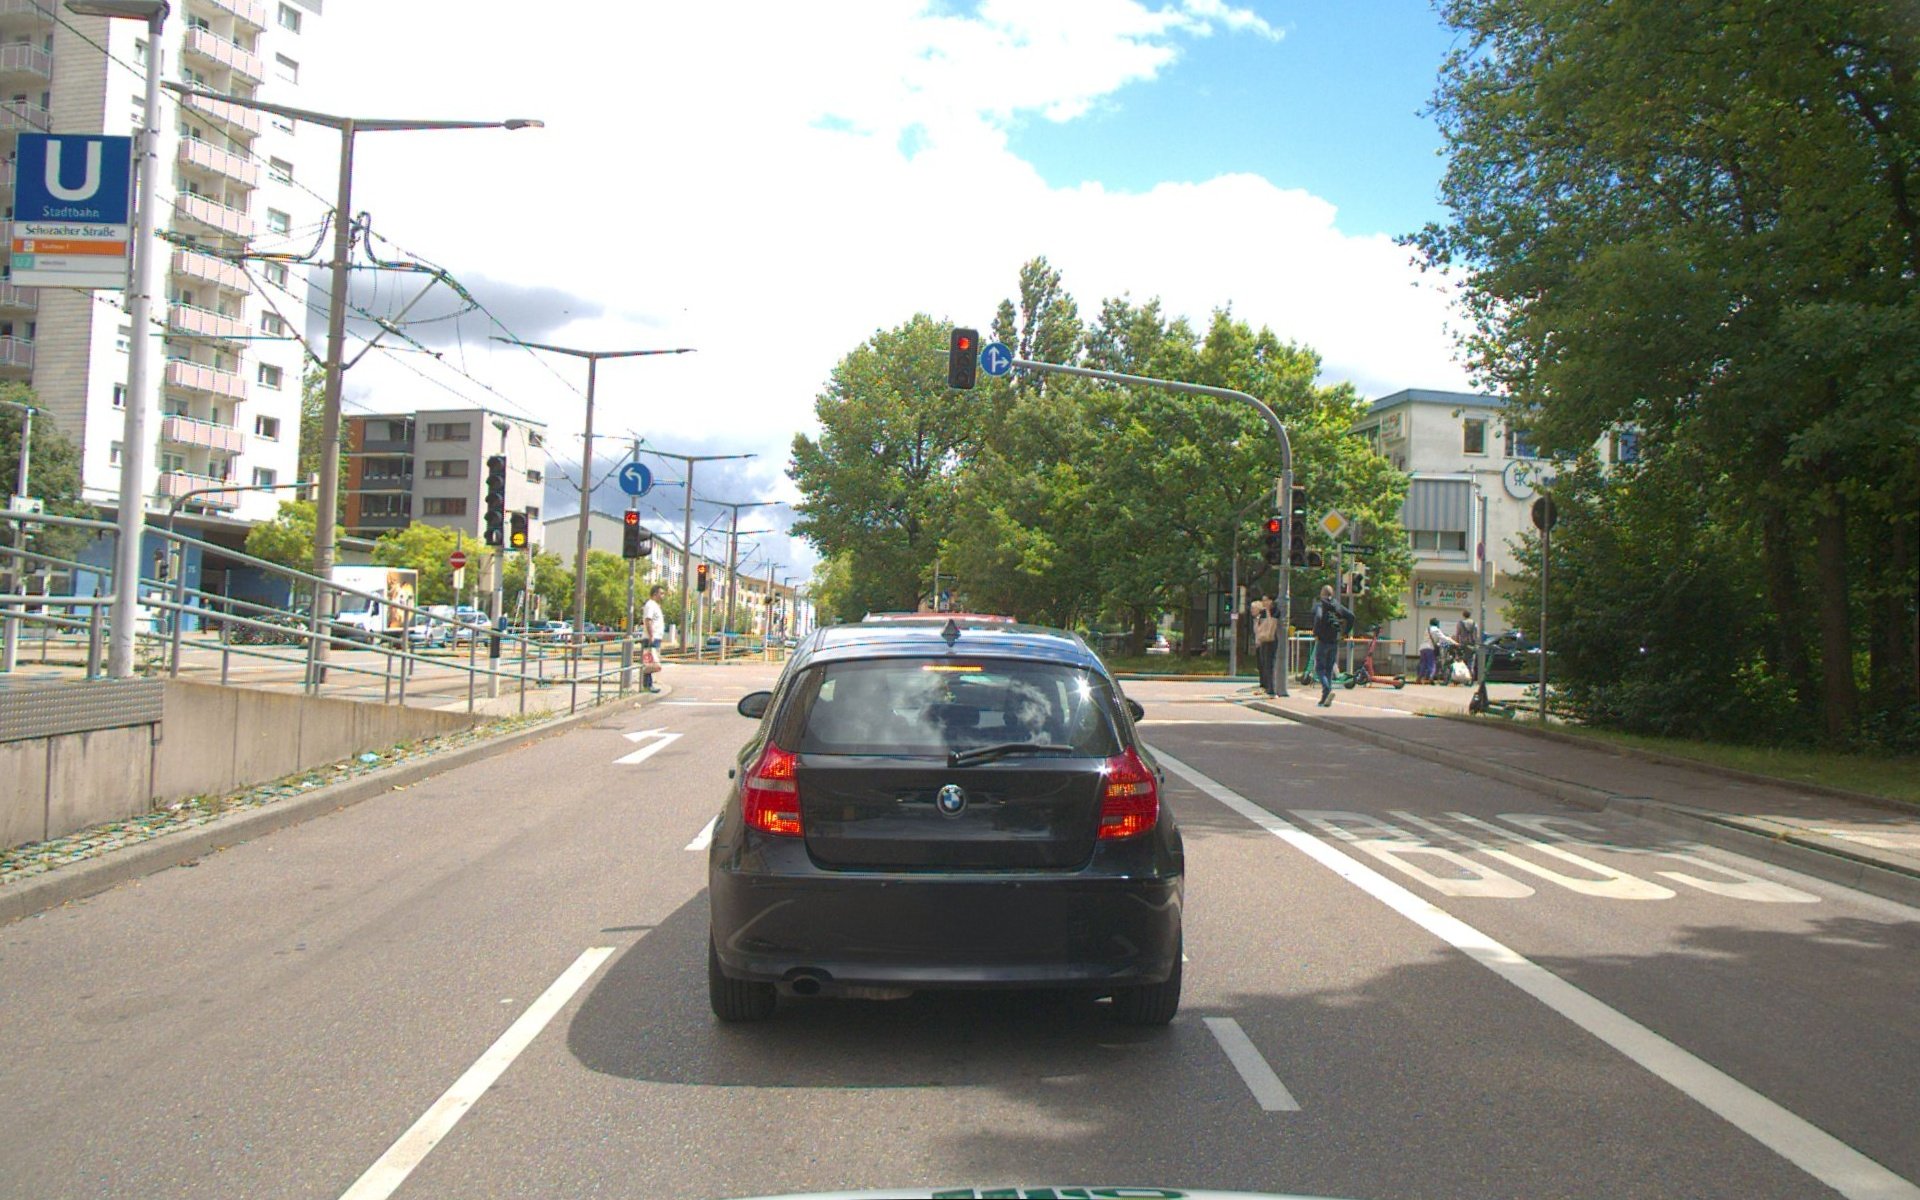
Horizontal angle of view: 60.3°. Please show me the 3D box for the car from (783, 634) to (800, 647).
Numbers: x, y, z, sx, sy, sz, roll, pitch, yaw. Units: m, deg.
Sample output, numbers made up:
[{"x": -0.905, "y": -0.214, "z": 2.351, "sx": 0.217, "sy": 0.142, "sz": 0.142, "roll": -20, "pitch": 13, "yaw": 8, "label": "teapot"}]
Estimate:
[{"x": -20.295, "y": 4.866, "z": 199.508, "sx": 1.618, "sy": 1.561, "sz": 3.870, "roll": -1, "pitch": -1, "yaw": -1, "label": "car"}]

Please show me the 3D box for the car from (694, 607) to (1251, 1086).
[{"x": 0.018, "y": 0.758, "z": 6.722, "sx": 1.666, "sy": 1.424, "sz": 3.419, "roll": 1, "pitch": 0, "yaw": -1, "label": "car"}]

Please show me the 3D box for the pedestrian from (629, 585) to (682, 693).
[{"x": -5.092, "y": 0.646, "z": 27.639, "sx": 0.679, "sy": 1.764, "sz": 0.681, "roll": 1, "pitch": -1, "yaw": -28, "label": "pedestrian"}]

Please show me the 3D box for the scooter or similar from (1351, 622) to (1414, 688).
[{"x": 8.692, "y": 1.131, "z": 34.046, "sx": 1.127, "sy": 1.294, "sz": 0.555, "roll": 2, "pitch": -1, "yaw": 1, "label": "scooter or similar"}]

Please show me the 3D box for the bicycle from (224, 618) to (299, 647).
[{"x": -26.539, "y": 1.241, "z": 62.829, "sx": 2.528, "sy": 1.026, "sz": 0.748, "roll": 3, "pitch": -3, "yaw": -29, "label": "bicycle"}]

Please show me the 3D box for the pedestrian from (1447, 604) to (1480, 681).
[{"x": 11.523, "y": 0.968, "z": 37.859, "sx": 0.644, "sy": 1.743, "sz": 0.461, "roll": 1, "pitch": -1, "yaw": 25, "label": "pedestrian"}]

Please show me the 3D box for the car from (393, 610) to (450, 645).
[{"x": -23.577, "y": 1.192, "z": 72.507, "sx": 1.379, "sy": 1.486, "sz": 3.772, "roll": 2, "pitch": -1, "yaw": -3, "label": "car"}]

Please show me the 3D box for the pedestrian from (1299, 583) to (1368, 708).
[{"x": 5.993, "y": 0.715, "z": 26.594, "sx": 0.779, "sy": 1.908, "sz": 1.013, "roll": 4, "pitch": -1, "yaw": 1, "label": "pedestrian"}]

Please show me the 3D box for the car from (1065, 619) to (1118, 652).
[{"x": 7.170, "y": 1.938, "z": 90.768, "sx": 1.830, "sy": 1.691, "sz": 3.988, "roll": 2, "pitch": -1, "yaw": -12, "label": "car"}]

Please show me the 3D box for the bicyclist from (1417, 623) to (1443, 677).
[{"x": 10.510, "y": 1.117, "z": 36.964, "sx": 0.392, "sy": 1.177, "sz": 0.501, "roll": 0, "pitch": -1, "yaw": 36, "label": "bicyclist"}]

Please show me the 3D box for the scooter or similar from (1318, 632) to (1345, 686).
[{"x": 7.870, "y": 1.236, "z": 35.006, "sx": 0.536, "sy": 1.082, "sz": 1.263, "roll": 1, "pitch": 0, "yaw": 13, "label": "scooter or similar"}]

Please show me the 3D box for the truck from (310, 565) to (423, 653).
[{"x": -23.043, "y": 0.360, "z": 64.536, "sx": 2.237, "sy": 3.172, "sz": 7.311, "roll": 2, "pitch": -1, "yaw": -5, "label": "truck"}]

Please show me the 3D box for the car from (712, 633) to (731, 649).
[{"x": -23.681, "y": 4.086, "z": 164.179, "sx": 1.760, "sy": 1.434, "sz": 3.994, "roll": 1, "pitch": 0, "yaw": -7, "label": "car"}]

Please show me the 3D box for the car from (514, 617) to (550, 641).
[{"x": -28.816, "y": 1.938, "z": 111.452, "sx": 1.559, "sy": 1.500, "sz": 3.773, "roll": 2, "pitch": -1, "yaw": -2, "label": "car"}]

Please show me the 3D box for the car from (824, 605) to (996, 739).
[{"x": -0.583, "y": 0.809, "z": 20.524, "sx": 1.862, "sy": 1.447, "sz": 4.538, "roll": 1, "pitch": 0, "yaw": -1, "label": "car"}]

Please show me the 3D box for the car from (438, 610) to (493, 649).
[{"x": -23.680, "y": 1.405, "z": 79.299, "sx": 1.559, "sy": 1.787, "sz": 3.773, "roll": 2, "pitch": -1, "yaw": -2, "label": "car"}]

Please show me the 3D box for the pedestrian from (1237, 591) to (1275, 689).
[{"x": 5.478, "y": 0.734, "z": 30.578, "sx": 0.622, "sy": 1.797, "sz": 0.518, "roll": 1, "pitch": -1, "yaw": 5, "label": "pedestrian"}]

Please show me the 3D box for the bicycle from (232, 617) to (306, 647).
[{"x": -26.712, "y": 1.242, "z": 63.928, "sx": 2.528, "sy": 1.026, "sz": 0.748, "roll": 3, "pitch": -3, "yaw": -29, "label": "bicycle"}]

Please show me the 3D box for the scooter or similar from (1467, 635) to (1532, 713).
[{"x": 9.350, "y": 1.274, "z": 28.687, "sx": 0.872, "sy": 1.251, "sz": 0.454, "roll": 6, "pitch": -1, "yaw": -1, "label": "scooter or similar"}]

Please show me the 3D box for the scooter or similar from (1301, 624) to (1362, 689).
[{"x": 7.429, "y": 1.128, "z": 33.116, "sx": 1.087, "sy": 1.257, "sz": 0.539, "roll": 1, "pitch": -1, "yaw": 1, "label": "scooter or similar"}]

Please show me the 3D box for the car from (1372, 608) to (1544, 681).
[{"x": 14.639, "y": 1.292, "z": 48.712, "sx": 4.450, "sy": 2.049, "sz": 1.996, "roll": 1, "pitch": -1, "yaw": -9, "label": "car"}]

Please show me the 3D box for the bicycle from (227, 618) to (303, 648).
[{"x": -26.075, "y": 1.249, "z": 62.082, "sx": 2.528, "sy": 1.026, "sz": 0.748, "roll": 3, "pitch": -3, "yaw": -29, "label": "bicycle"}]

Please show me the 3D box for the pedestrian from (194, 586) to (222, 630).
[{"x": -35.695, "y": 0.369, "z": 78.501, "sx": 0.841, "sy": 2.049, "sz": 0.847, "roll": 1, "pitch": -1, "yaw": 17, "label": "pedestrian"}]

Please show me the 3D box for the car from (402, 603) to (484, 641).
[{"x": -27.829, "y": 1.190, "z": 89.052, "sx": 3.893, "sy": 2.009, "sz": 1.630, "roll": 2, "pitch": -1, "yaw": -43, "label": "car"}]

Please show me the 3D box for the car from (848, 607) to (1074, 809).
[{"x": -0.019, "y": 0.789, "z": 13.624, "sx": 1.605, "sy": 1.424, "sz": 3.419, "roll": 1, "pitch": 0, "yaw": -1, "label": "car"}]

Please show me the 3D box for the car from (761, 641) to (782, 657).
[{"x": -20.290, "y": 5.277, "z": 178.221, "sx": 1.617, "sy": 1.561, "sz": 3.872, "roll": 1, "pitch": -1, "yaw": 1, "label": "car"}]

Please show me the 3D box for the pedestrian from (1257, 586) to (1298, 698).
[{"x": 5.526, "y": 0.727, "z": 28.761, "sx": 0.622, "sy": 1.909, "sz": 0.518, "roll": 1, "pitch": -1, "yaw": 5, "label": "pedestrian"}]

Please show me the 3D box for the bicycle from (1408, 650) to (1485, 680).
[{"x": 10.795, "y": 1.435, "z": 36.724, "sx": 1.559, "sy": 0.620, "sz": 0.532, "roll": -1, "pitch": 0, "yaw": 37, "label": "bicycle"}]

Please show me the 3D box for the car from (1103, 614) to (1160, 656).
[{"x": 8.235, "y": 1.666, "z": 79.845, "sx": 1.694, "sy": 1.904, "sz": 3.991, "roll": 2, "pitch": -1, "yaw": -9, "label": "car"}]
